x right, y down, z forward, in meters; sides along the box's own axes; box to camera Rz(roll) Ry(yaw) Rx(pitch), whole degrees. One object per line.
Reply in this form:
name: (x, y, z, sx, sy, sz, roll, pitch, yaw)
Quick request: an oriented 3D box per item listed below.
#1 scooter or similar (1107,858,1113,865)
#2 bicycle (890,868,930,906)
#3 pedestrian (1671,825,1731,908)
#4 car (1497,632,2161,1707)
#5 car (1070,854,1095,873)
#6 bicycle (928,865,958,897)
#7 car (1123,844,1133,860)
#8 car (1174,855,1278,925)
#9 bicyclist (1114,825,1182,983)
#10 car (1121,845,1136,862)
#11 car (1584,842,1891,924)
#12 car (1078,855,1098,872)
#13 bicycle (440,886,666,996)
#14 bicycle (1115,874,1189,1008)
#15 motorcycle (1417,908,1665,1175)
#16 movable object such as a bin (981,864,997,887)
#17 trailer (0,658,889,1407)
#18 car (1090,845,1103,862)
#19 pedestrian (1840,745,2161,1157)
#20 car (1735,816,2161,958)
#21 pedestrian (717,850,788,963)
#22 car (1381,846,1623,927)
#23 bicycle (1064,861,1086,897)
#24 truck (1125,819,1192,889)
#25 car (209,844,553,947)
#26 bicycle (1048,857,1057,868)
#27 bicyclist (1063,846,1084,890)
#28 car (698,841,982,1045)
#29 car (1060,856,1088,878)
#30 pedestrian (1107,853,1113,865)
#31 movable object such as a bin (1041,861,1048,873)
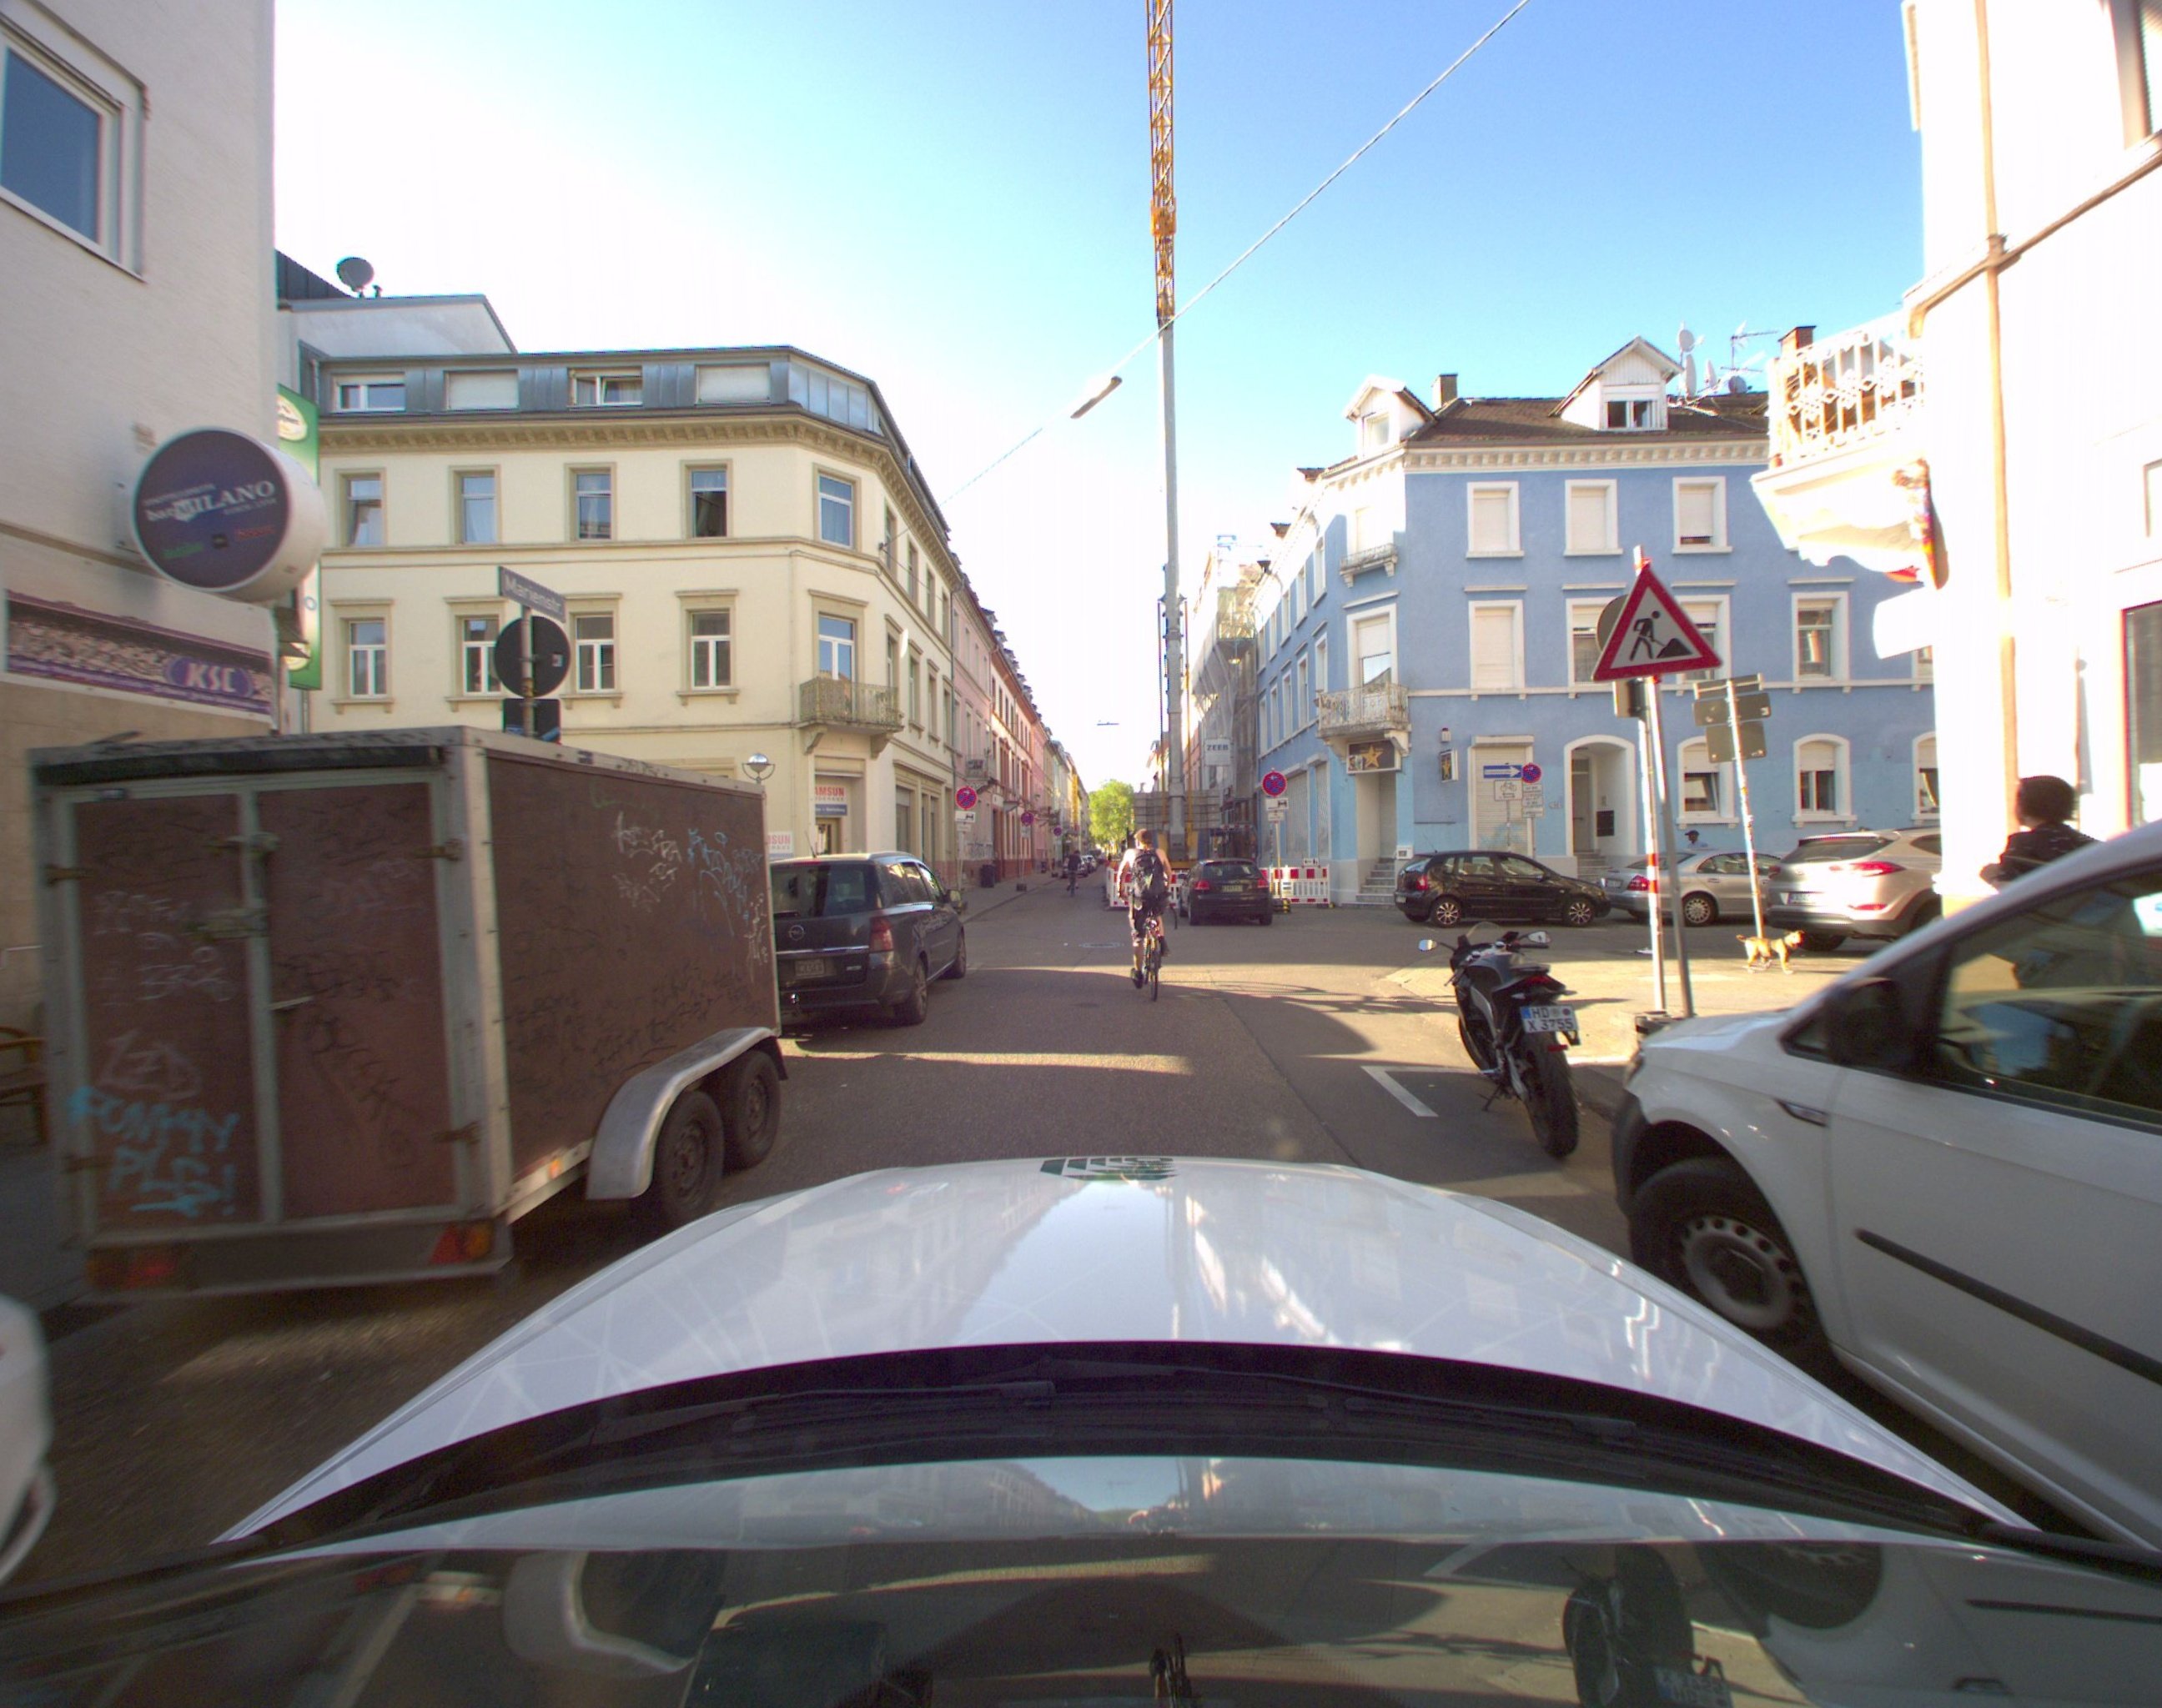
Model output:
scooter or similar: (3.660, 0.947, 103.464, 0.768, 0.873, 0.771, 0, -1, 1)
bicycle: (-4.863, 0.917, 23.256, 0.601, 1.022, 1.819, 3, -1, 3)
pedestrian: (13.994, 0.282, 18.401, 0.766, 1.849, 0.780, 0, -1, 1)
car: (2.597, 0.524, 1.245, 1.742, 1.816, 4.371, -2, -1, 2)
car: (0.145, 0.779, 68.766, 1.703, 1.383, 4.361, -1, 1, 4)
bicycle: (-4.690, 0.903, 27.860, 0.619, 1.022, 1.819, 1, 0, 3)
car: (11.842, -0.471, 206.905, 2.299, 3.767, 6.773, -3, -1, 2)
car: (3.191, 0.741, 18.667, 1.765, 1.434, 4.035, 0, 0, 2)
bicyclist: (0.711, 0.511, 8.941, 0.699, 1.633, 1.091, 0, 0, 2)
car: (7.786, -0.061, 133.694, 2.299, 2.538, 6.773, -3, -1, 2)
car: (12.498, 0.524, 15.747, 4.450, 1.434, 1.759, -1, 2, 4)
car: (0.656, 0.836, 75.397, 1.665, 1.441, 4.167, -3, -1, 2)
bicycle: (-7.144, 1.154, 11.109, 2.465, 1.359, 0.929, -1, 0, 2)
bicycle: (0.726, 0.858, 8.919, 0.699, 1.208, 2.343, 0, 0, 2)
motorcycle: (2.570, 0.940, 4.837, 0.714, 1.086, 2.003, 2, 0, 13)
movable object such as a bin: (-4.117, 0.960, 36.480, 0.603, 1.035, 0.596, 0, -2, 1)
trailer: (-2.440, 0.520, 4.510, 1.656, 2.061, 4.362, -3, -1, 0)
car: (2.299, -0.030, 122.710, 1.903, 2.496, 4.165, -2, 0, 0)
pedestrian: (4.758, 0.421, 4.105, 0.823, 1.792, 0.990, -4, -1, 1)
car: (11.252, 0.419, 10.518, 4.043, 1.632, 1.857, -1, -2, 2)
pedestrian: (-5.296, 0.819, 13.175, 0.691, 1.701, 0.866, 3, 2, 2)
car: (8.062, 0.597, 15.863, 3.852, 1.453, 1.678, -1, 0, 2)
bicycle: (-0.226, 0.927, 30.824, 0.699, 1.208, 2.343, -2, 1, 2)
truck: (3.307, 0.041, 36.391, 2.651, 2.814, 7.398, 0, 0, 3)
car: (-13.659, 0.759, 16.137, 5.072, 1.850, 1.856, -1, 0, -2)
bicycle: (-2.698, 0.806, 77.253, 0.590, 1.089, 2.080, 0, 0, 3)
bicyclist: (-0.295, 0.533, 30.780, 0.699, 1.605, 0.813, -2, 1, 1)
car: (-2.244, 0.718, 8.807, 1.716, 1.605, 4.166, -3, 0, 0)
car: (-0.488, 0.917, 57.802, 1.704, 1.383, 4.508, -3, -1, 2)
pedestrian: (3.672, 0.613, 103.920, 0.768, 1.578, 0.900, 0, -1, 1)
movable object such as a bin: (-2.866, 1.002, 64.000, 0.541, 0.945, 0.487, 0, -1, 3)
